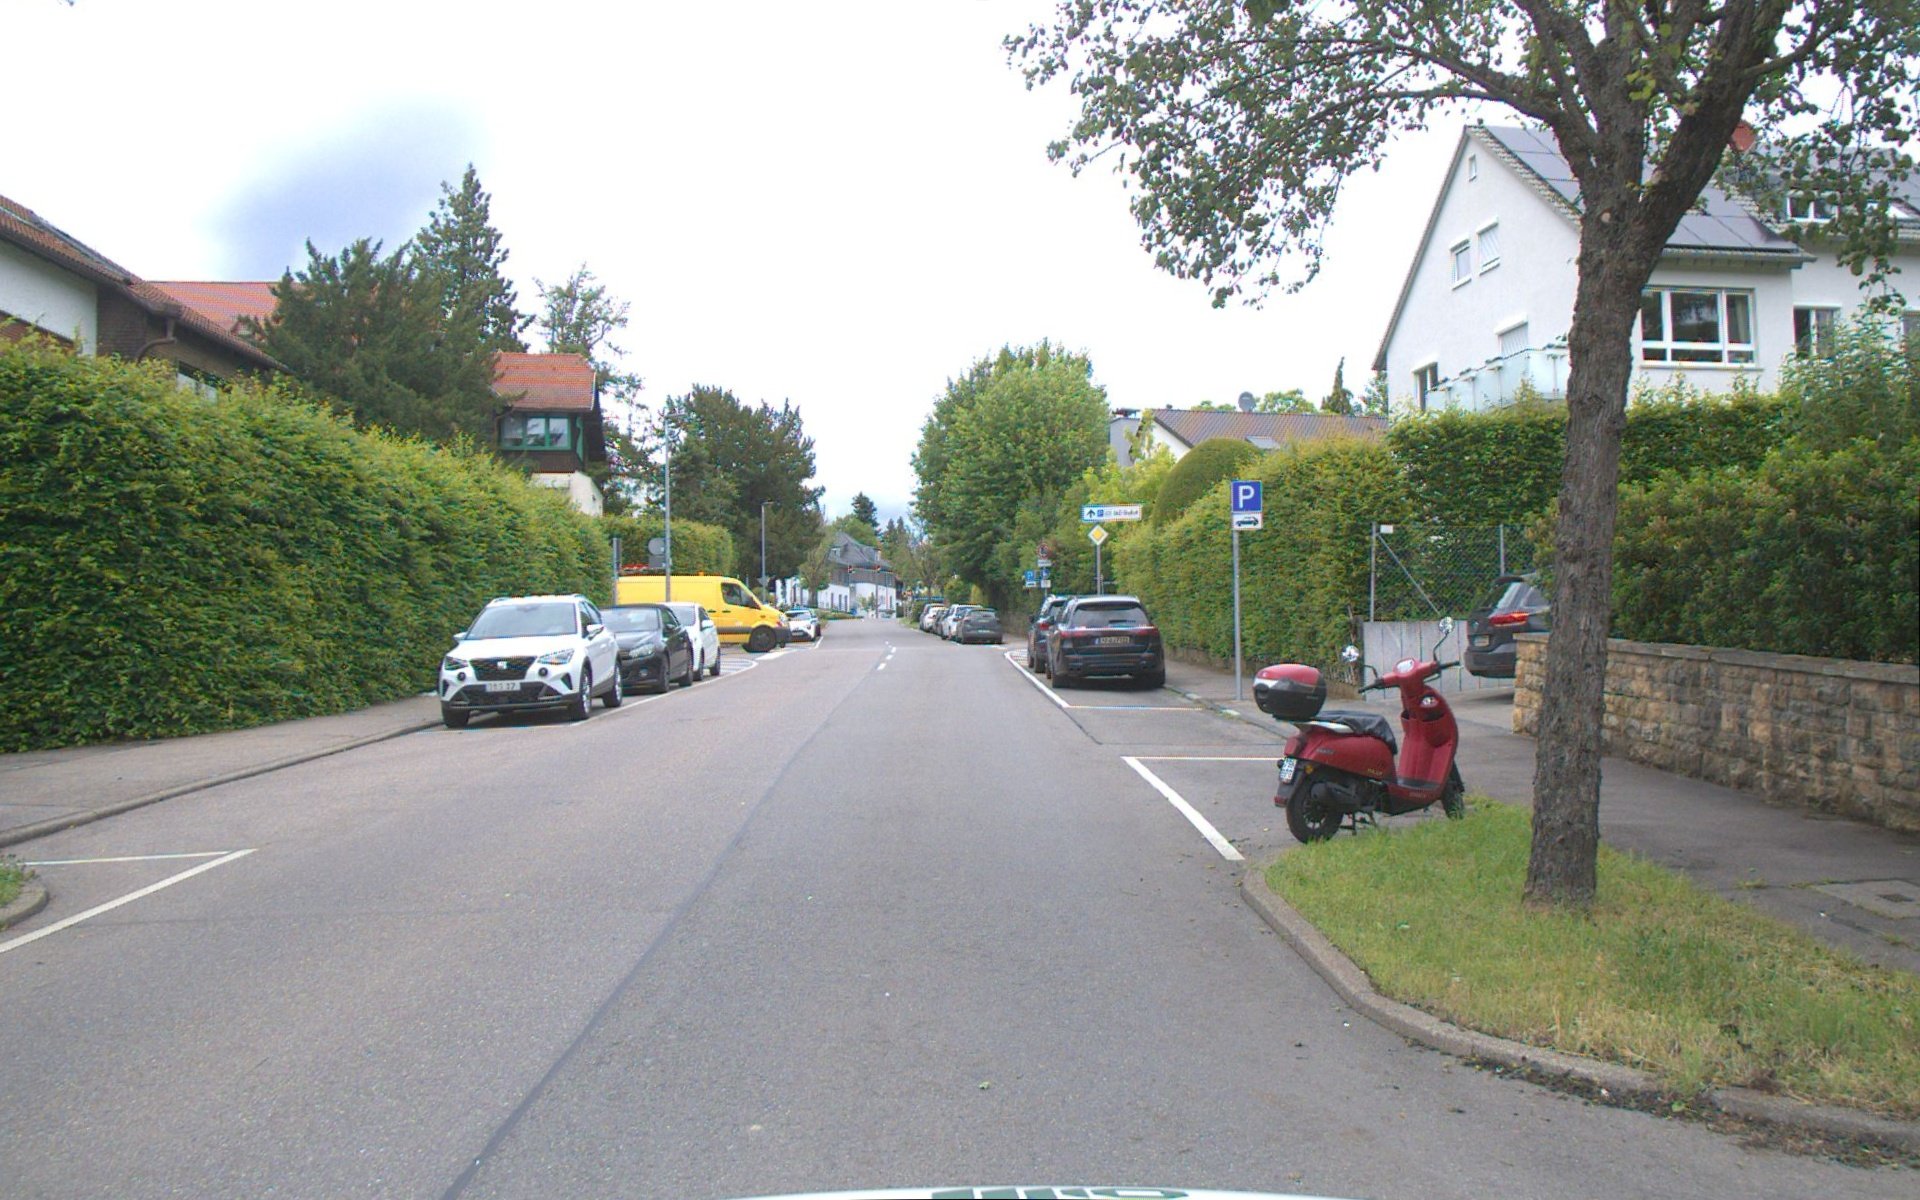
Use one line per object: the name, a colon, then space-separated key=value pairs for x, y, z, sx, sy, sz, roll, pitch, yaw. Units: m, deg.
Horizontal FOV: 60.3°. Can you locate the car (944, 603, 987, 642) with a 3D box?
car: x=0.230 y=1.012 z=76.193 sx=1.680 sy=1.686 sz=3.619 roll=-1 pitch=0 yaw=-5

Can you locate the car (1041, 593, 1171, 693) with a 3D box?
car: x=2.411 y=0.673 z=28.329 sx=1.844 sy=1.560 sz=4.475 roll=0 pitch=0 yaw=0

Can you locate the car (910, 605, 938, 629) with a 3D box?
car: x=-2.417 y=1.137 z=109.973 sx=1.632 sy=1.527 sz=3.464 roll=-1 pitch=0 yaw=-5

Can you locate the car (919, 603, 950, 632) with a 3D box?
car: x=-1.603 y=1.073 z=103.158 sx=1.632 sy=1.697 sz=3.464 roll=-1 pitch=0 yaw=-5

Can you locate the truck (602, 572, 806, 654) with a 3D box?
truck: x=-7.907 y=0.427 z=50.865 sx=5.841 sy=2.349 sz=2.810 roll=0 pitch=-3 yaw=-19

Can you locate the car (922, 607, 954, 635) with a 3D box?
car: x=-1.292 y=1.209 z=96.043 sx=1.632 sy=1.527 sz=3.464 roll=-1 pitch=0 yaw=-5

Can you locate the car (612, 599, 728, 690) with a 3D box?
car: x=-5.570 y=0.812 z=32.115 sx=1.597 sy=1.550 sz=3.637 roll=-3 pitch=0 yaw=-1

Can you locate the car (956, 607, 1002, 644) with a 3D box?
car: x=0.796 y=1.089 z=71.441 sx=1.632 sy=1.527 sz=3.464 roll=-1 pitch=0 yaw=-5

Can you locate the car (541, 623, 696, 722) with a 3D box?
car: x=-5.523 y=1.152 z=27.222 sx=1.727 sy=1.412 sz=3.999 roll=-3 pitch=-1 yaw=-1

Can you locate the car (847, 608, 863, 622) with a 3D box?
car: x=-12.195 y=1.727 z=191.387 sx=1.786 sy=1.445 sz=3.996 roll=-1 pitch=0 yaw=-5

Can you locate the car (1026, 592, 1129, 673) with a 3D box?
car: x=2.364 y=0.623 z=34.303 sx=1.844 sy=1.560 sz=4.475 roll=0 pitch=0 yaw=0

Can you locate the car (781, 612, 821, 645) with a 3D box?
car: x=-7.408 y=1.301 z=76.821 sx=1.634 sy=1.424 sz=3.459 roll=-1 pitch=0 yaw=-10

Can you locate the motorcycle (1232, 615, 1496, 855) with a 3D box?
motorcycle: x=2.609 y=0.804 z=10.575 sx=1.848 sy=1.370 sz=0.592 roll=-1 pitch=0 yaw=-37

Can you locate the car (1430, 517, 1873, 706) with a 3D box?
car: x=8.063 y=0.116 z=19.555 sx=4.280 sy=1.493 sz=1.967 roll=-9 pitch=0 yaw=-2

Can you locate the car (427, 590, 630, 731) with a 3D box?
car: x=-5.399 y=0.693 z=21.177 sx=1.688 sy=1.567 sz=3.998 roll=-2 pitch=0 yaw=-3

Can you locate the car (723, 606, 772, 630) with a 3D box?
car: x=-16.527 y=1.412 z=128.501 sx=3.773 sy=1.767 sz=1.639 roll=-1 pitch=0 yaw=-9

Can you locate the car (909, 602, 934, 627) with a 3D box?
car: x=-2.773 y=1.047 z=118.230 sx=1.611 sy=1.697 sz=3.464 roll=-1 pitch=0 yaw=-5
